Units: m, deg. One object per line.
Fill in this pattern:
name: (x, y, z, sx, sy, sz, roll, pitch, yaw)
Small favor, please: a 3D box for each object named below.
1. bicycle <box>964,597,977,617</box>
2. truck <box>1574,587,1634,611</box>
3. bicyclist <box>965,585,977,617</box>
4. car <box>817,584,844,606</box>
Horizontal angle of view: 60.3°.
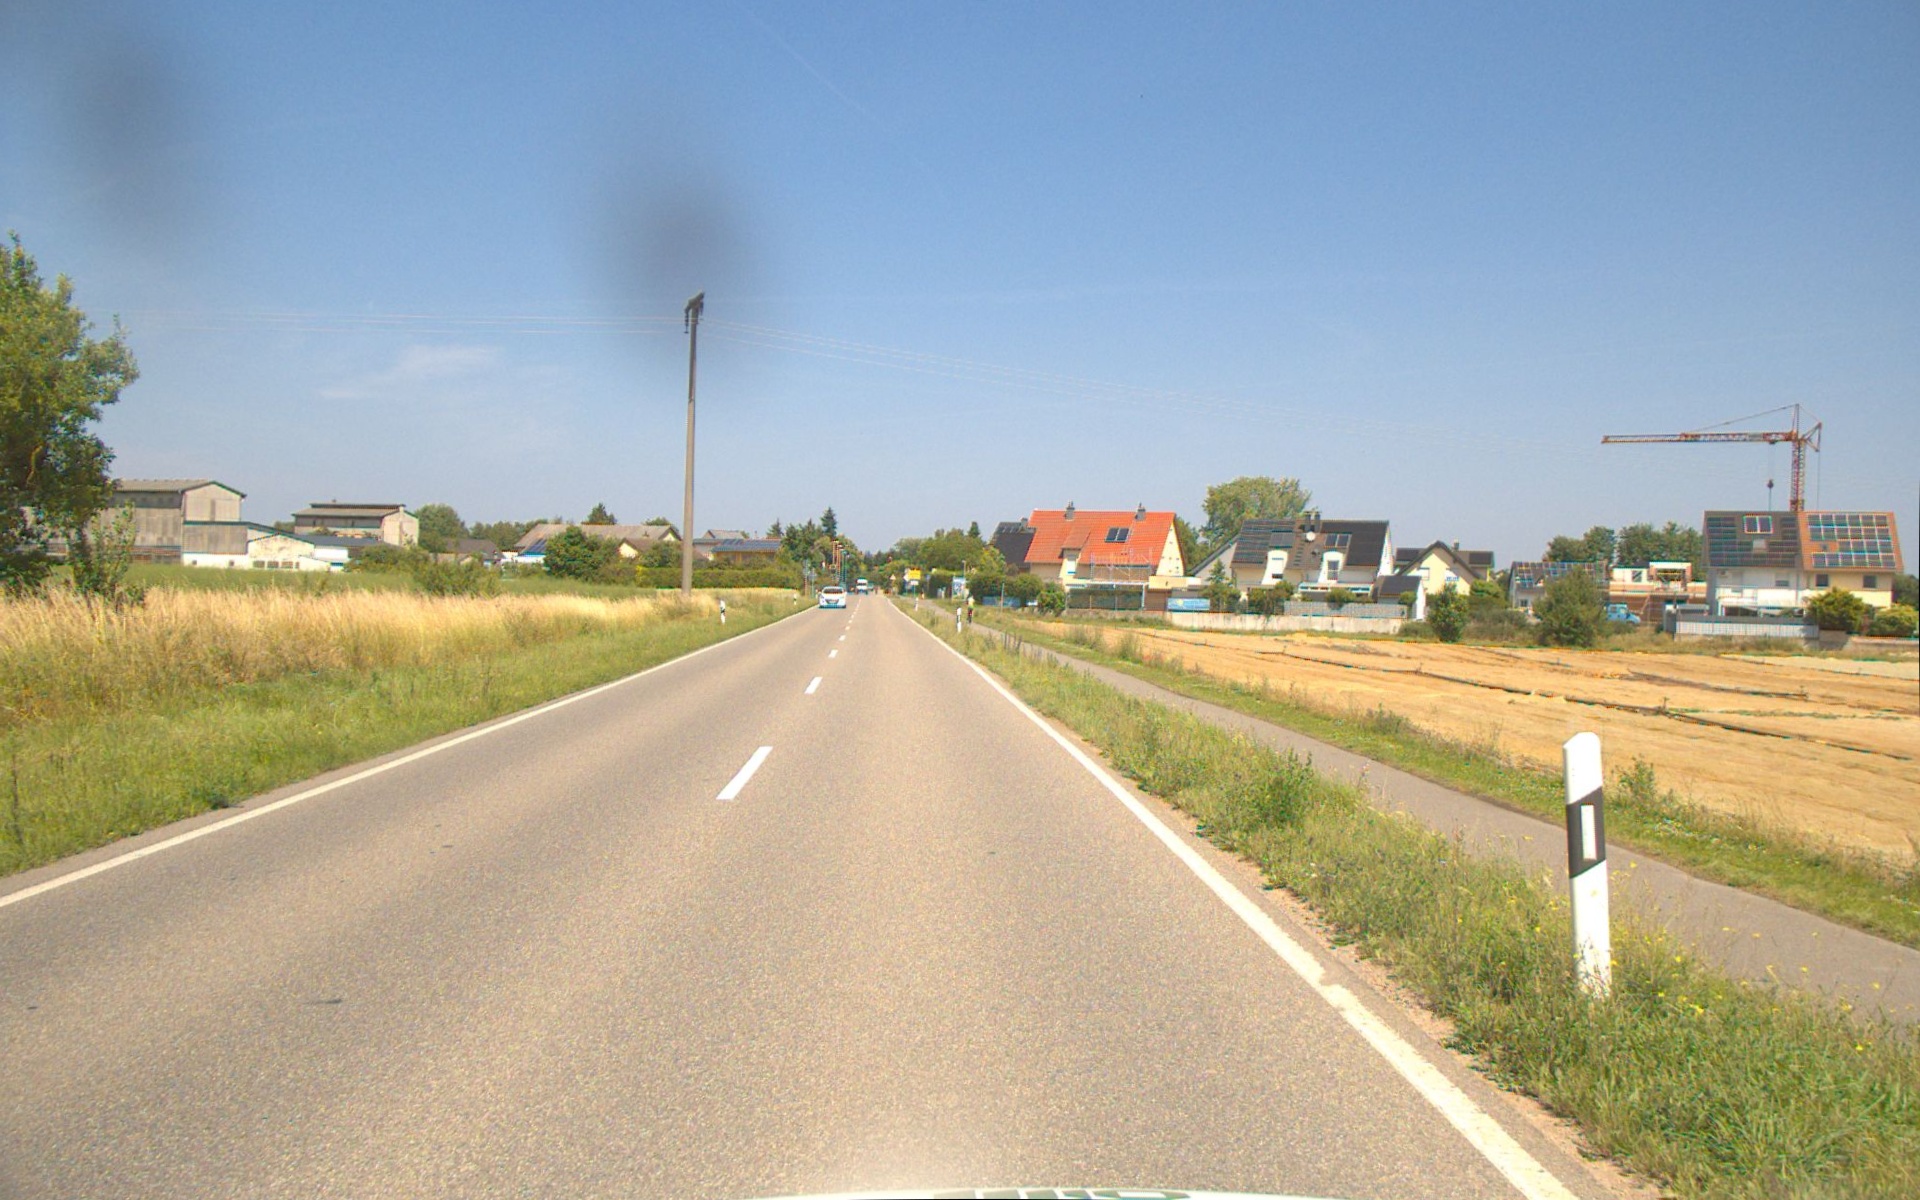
bicycle: (0.683, 0.441, 104.385, 0.598, 1.179, 2.273, 3, 1, -4)
truck: (63.897, -0.089, 164.102, 5.440, 2.269, 2.215, 1, 0, 22)
bicyclist: (0.696, 0.062, 104.348, 0.632, 1.922, 0.860, 3, 1, -4)
car: (-8.863, -0.355, 113.701, 1.756, 1.434, 4.183, 1, 0, -3)
